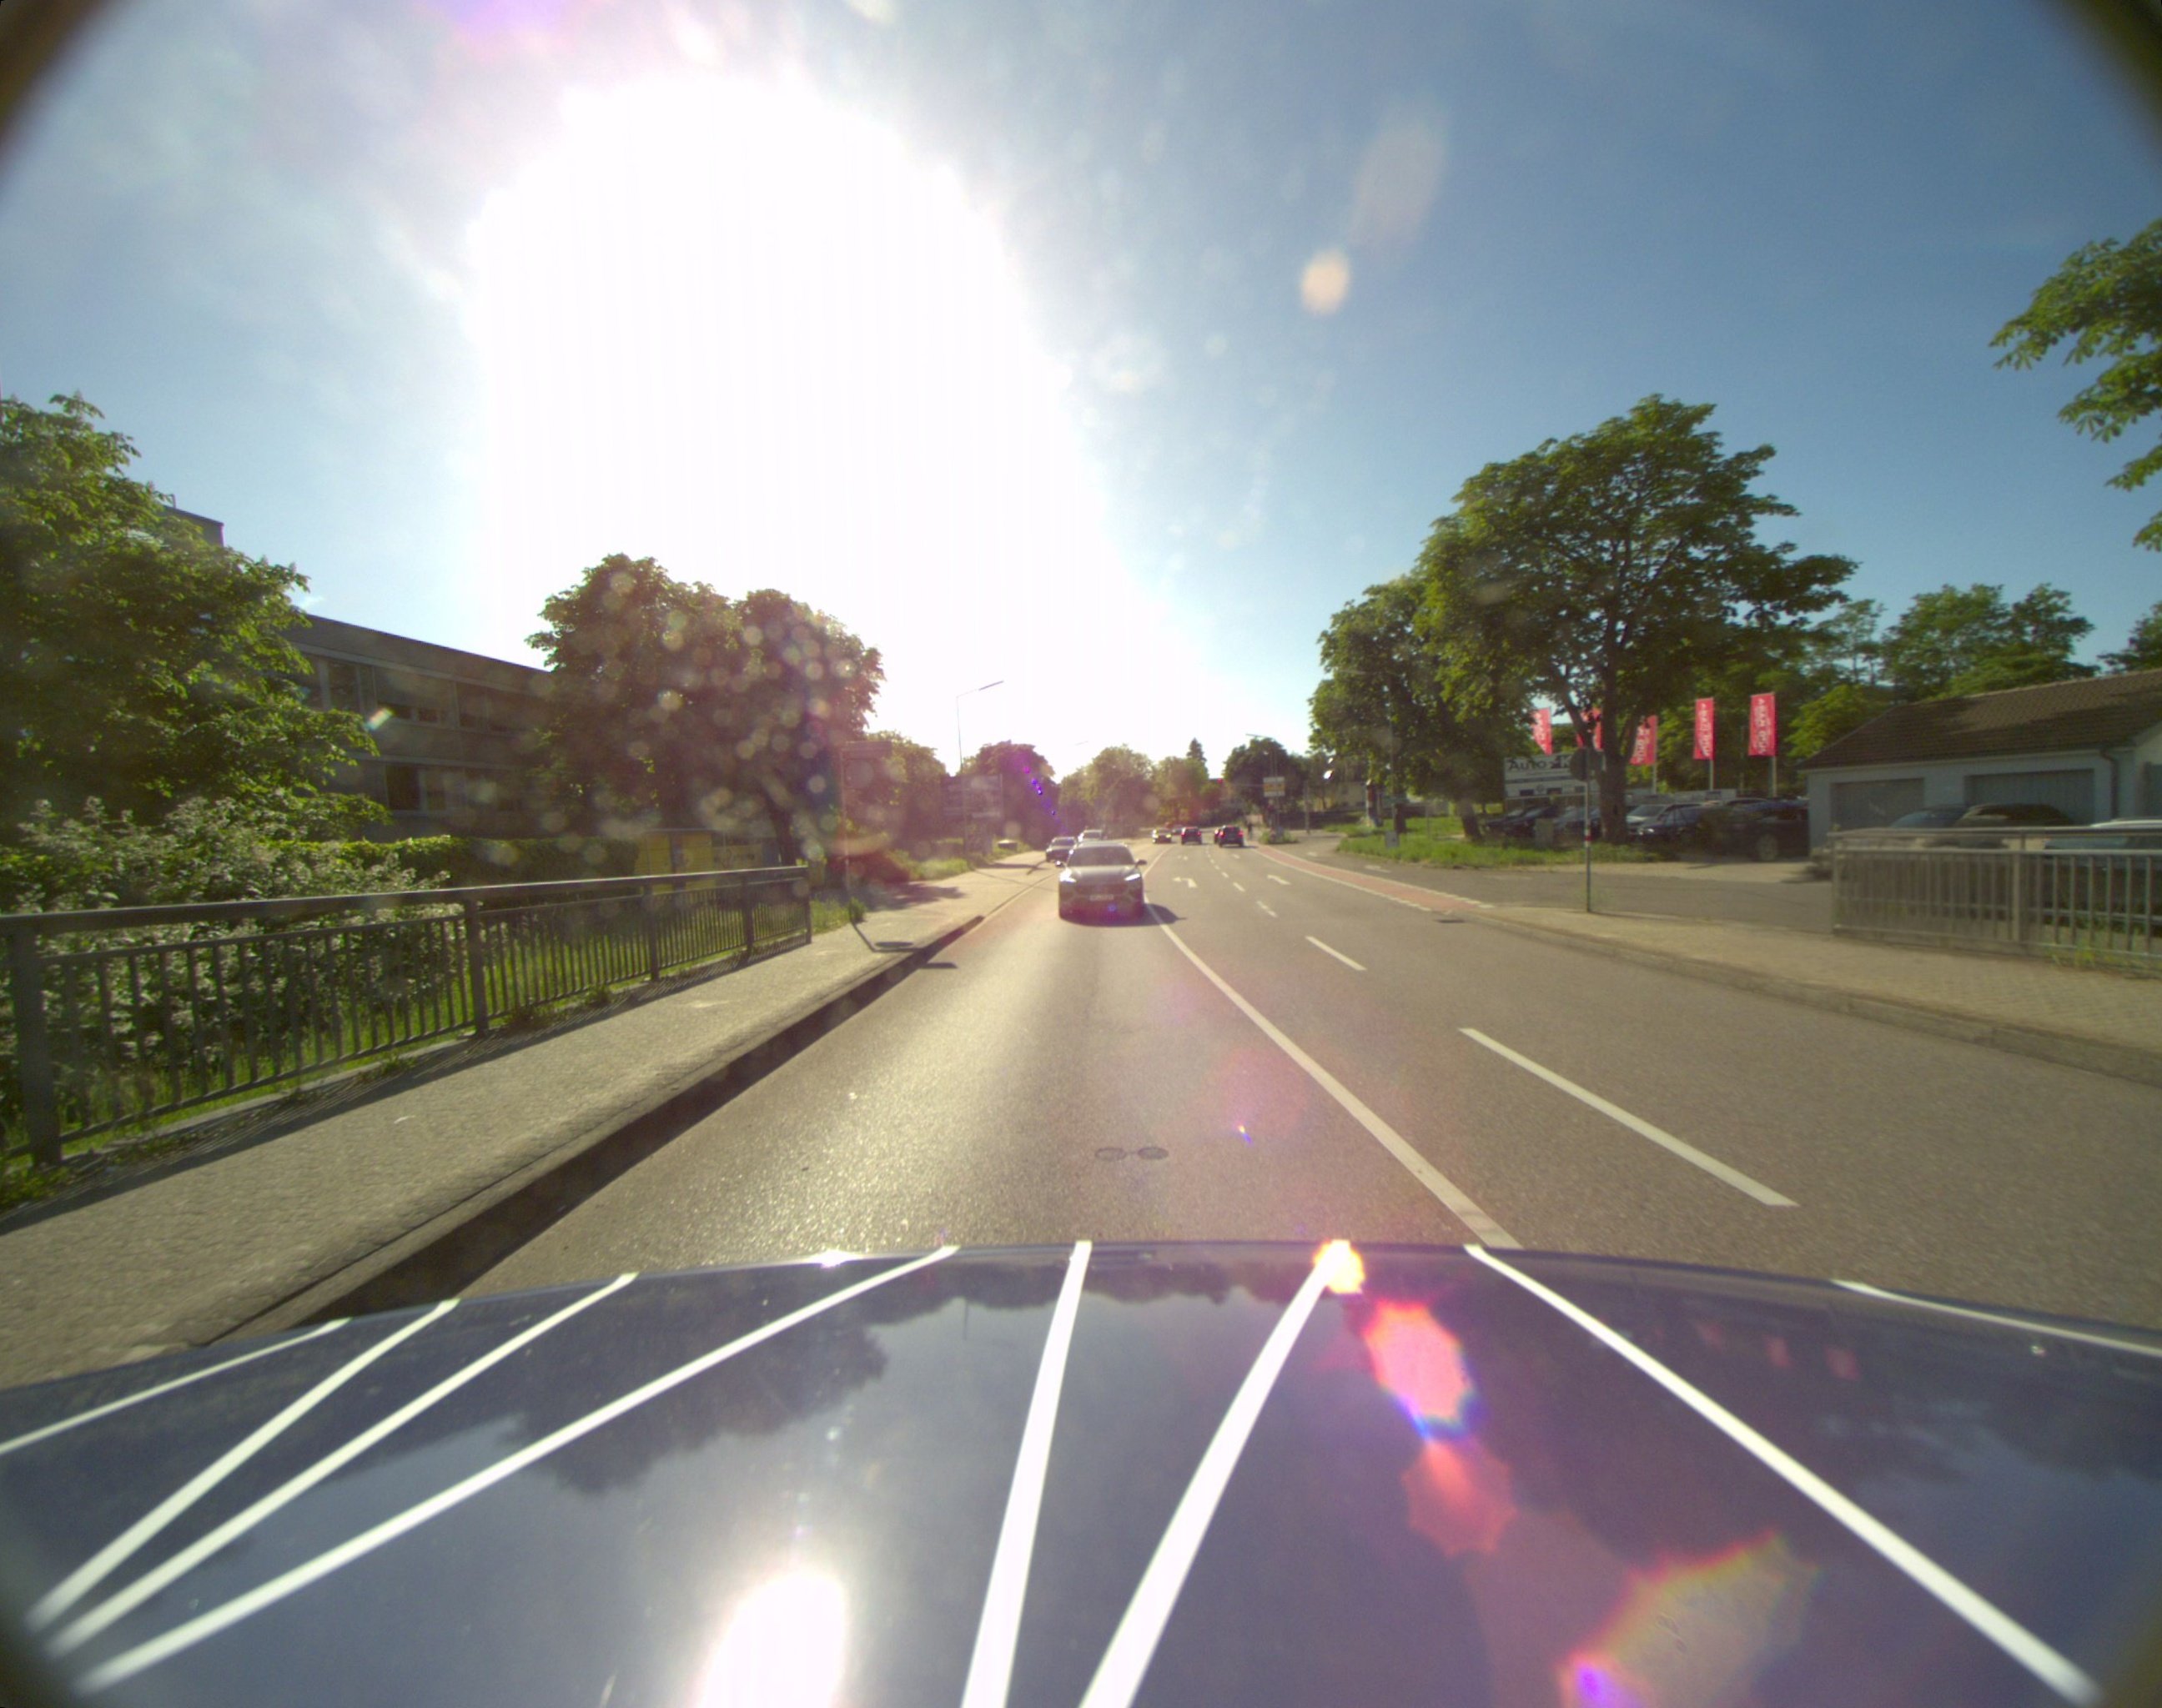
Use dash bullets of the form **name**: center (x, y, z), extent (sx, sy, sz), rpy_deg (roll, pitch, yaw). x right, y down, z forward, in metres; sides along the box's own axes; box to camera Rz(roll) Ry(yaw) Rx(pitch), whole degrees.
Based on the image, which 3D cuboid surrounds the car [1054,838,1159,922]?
- **car**: center (0.453, 0.485, 17.403), extent (1.716, 1.636, 4.051), rpy_deg (-3, 1, -7)

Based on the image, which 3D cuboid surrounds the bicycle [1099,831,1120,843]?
- **bicycle**: center (3.170, -1.877, 83.836), extent (0.901, 1.119, 2.957), rpy_deg (-2, 2, 31)

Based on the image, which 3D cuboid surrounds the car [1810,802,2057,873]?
- **car**: center (20.693, -0.439, 18.582), extent (3.998, 1.421, 1.906), rpy_deg (-4, 4, -2)

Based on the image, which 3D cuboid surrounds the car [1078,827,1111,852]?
- **car**: center (1.098, -1.172, 59.234), extent (1.876, 1.713, 4.613), rpy_deg (-1, 3, 10)

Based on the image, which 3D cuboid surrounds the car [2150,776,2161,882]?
- **car**: center (20.435, -0.392, 11.390), extent (1.751, 1.920, 5.101), rpy_deg (-3, 3, 3)

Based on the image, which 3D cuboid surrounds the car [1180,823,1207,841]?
- **car**: center (10.095, -2.008, 68.566), extent (1.917, 1.590, 3.998), rpy_deg (-1, 3, 2)

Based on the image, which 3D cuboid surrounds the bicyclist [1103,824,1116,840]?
- **bicyclist**: center (3.147, -2.448, 83.830), extent (0.890, 1.683, 1.192), rpy_deg (-2, 3, 31)

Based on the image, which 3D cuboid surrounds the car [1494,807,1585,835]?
- **car**: center (24.894, -1.791, 41.293), extent (3.934, 1.233, 2.041), rpy_deg (-4, 2, -13)

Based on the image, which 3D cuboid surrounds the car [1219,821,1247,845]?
- **car**: center (11.754, -1.632, 58.930), extent (1.856, 1.726, 4.271), rpy_deg (-3, 2, 8)

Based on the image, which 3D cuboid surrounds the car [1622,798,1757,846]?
- **car**: center (23.689, -1.249, 29.591), extent (4.410, 1.566, 1.811), rpy_deg (-4, 2, -15)

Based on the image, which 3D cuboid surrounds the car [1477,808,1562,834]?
- **car**: center (25.417, -1.914, 44.110), extent (3.934, 1.233, 2.041), rpy_deg (-4, 2, -13)

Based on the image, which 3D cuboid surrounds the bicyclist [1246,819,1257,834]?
- **bicyclist**: center (15.992, -2.578, 71.364), extent (0.935, 1.394, 0.823), rpy_deg (-3, 2, 12)

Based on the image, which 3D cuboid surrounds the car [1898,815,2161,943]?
- **car**: center (14.295, 0.276, 9.929), extent (2.042, 1.456, 4.960), rpy_deg (-3, 2, 3)

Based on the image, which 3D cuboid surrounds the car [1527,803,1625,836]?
- **car**: center (25.116, -1.719, 38.629), extent (3.880, 1.405, 1.944), rpy_deg (-4, 2, -11)

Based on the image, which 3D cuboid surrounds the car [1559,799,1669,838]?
- **car**: center (24.892, -1.628, 35.526), extent (4.001, 1.551, 1.997), rpy_deg (-4, 2, -13)

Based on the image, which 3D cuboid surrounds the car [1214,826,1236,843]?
- **car**: center (12.725, -1.746, 67.354), extent (1.787, 1.407, 3.892), rpy_deg (-2, 2, 11)

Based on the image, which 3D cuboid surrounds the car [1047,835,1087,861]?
- **car**: center (-0.827, -0.410, 46.985), extent (1.812, 1.412, 4.424), rpy_deg (-3, 2, 7)

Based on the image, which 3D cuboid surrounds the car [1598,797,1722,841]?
- **car**: center (24.917, -1.498, 32.776), extent (3.999, 1.602, 1.920), rpy_deg (-4, 2, -6)

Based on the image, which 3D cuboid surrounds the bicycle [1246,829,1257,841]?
- **bicycle**: center (16.047, -1.801, 71.430), extent (0.938, 1.011, 2.198), rpy_deg (-3, 2, 12)
